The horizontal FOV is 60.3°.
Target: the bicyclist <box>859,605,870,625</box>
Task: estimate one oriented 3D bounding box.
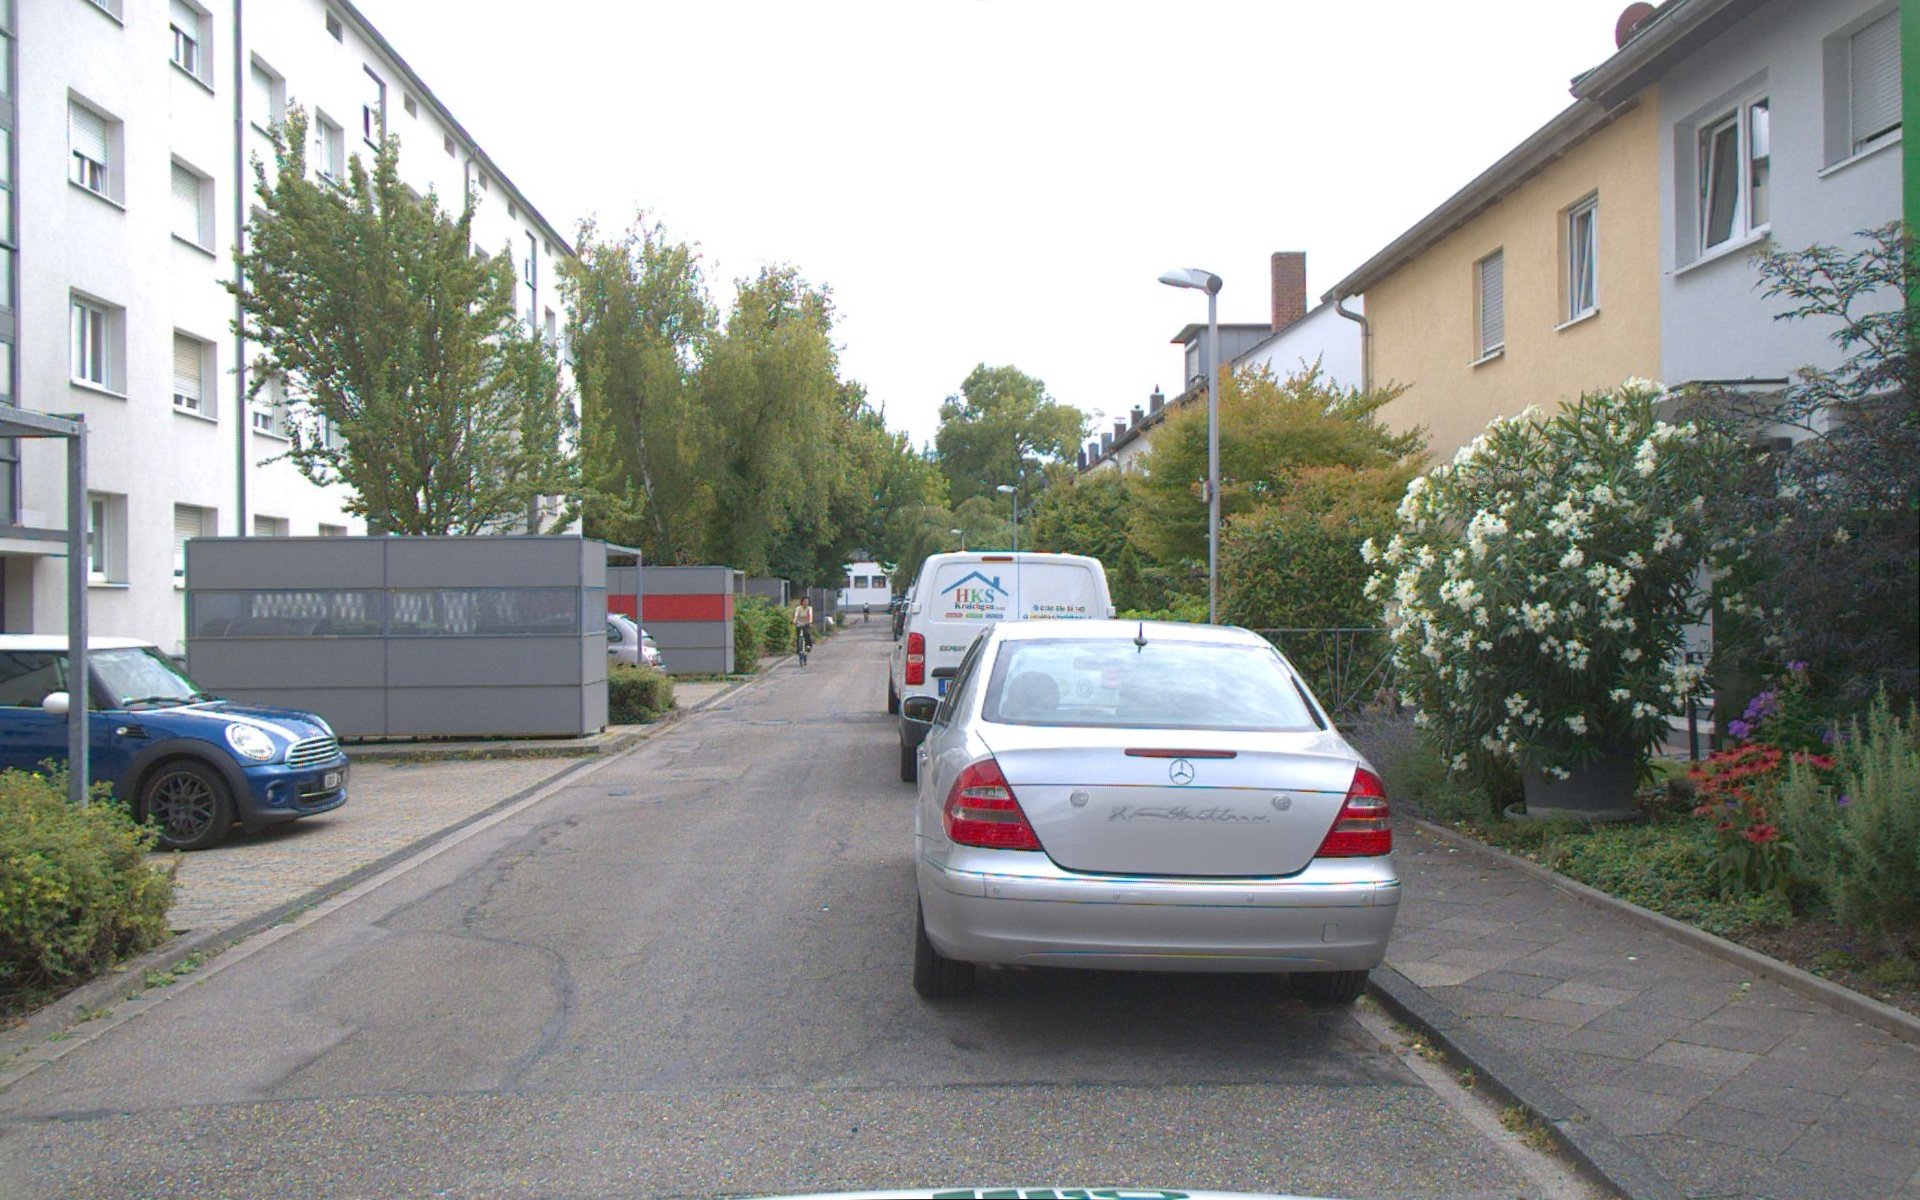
[{"bbox_3d":[-7.486,1.162,129.303,0.782,1.537,0.934,1,0,0],"label":"bicyclist"}]

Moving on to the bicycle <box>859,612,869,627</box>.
[{"bbox_3d":[-7.486,1.492,129.285,0.675,1.151,2.579,1,0,0],"label":"bicycle"}]

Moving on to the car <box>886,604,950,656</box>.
[{"bbox_3d":[-1.248,0.857,48.950,1.788,1.394,4.329,1,0,-2],"label":"car"}]

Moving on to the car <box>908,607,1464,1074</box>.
[{"bbox_3d":[0.687,0.769,7.447,1.747,1.445,4.454,1,0,-1],"label":"car"}]

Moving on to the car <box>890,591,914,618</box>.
[{"bbox_3d":[-4.347,0.340,124.325,1.788,1.916,3.998,1,0,-2],"label":"car"}]

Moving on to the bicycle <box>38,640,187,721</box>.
[{"bbox_3d":[-11.791,1.100,23.056,1.797,1.042,0.471,-1,0,-44],"label":"bicycle"}]

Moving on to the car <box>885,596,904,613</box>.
[{"bbox_3d":[-6.511,0.475,165.251,1.788,1.609,3.998,1,0,-2],"label":"car"}]

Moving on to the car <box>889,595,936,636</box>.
[{"bbox_3d":[-1.978,0.626,67.858,1.789,1.609,3.997,1,0,-4],"label":"car"}]

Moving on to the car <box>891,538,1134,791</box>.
[{"bbox_3d":[0.313,0.520,15.800,1.866,1.999,5.250,1,0,-3],"label":"car"}]

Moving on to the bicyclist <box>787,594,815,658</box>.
[{"bbox_3d":[-4.048,0.660,42.169,0.585,1.608,0.767,-2,0,-1],"label":"bicyclist"}]

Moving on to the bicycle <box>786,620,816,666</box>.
[{"bbox_3d":[-4.029,1.085,42.018,0.585,1.095,2.042,-2,0,-1],"label":"bicycle"}]

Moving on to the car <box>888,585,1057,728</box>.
[{"bbox_3d":[0.062,0.669,21.472,1.789,1.664,4.157,1,0,-5],"label":"car"}]

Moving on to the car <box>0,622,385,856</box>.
[{"bbox_3d":[-6.224,0.965,11.881,3.560,1.487,1.653,-2,0,1],"label":"car"}]

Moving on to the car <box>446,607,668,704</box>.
[{"bbox_3d":[-6.925,0.931,28.716,3.494,1.506,1.708,-2,0,-7],"label":"car"}]
